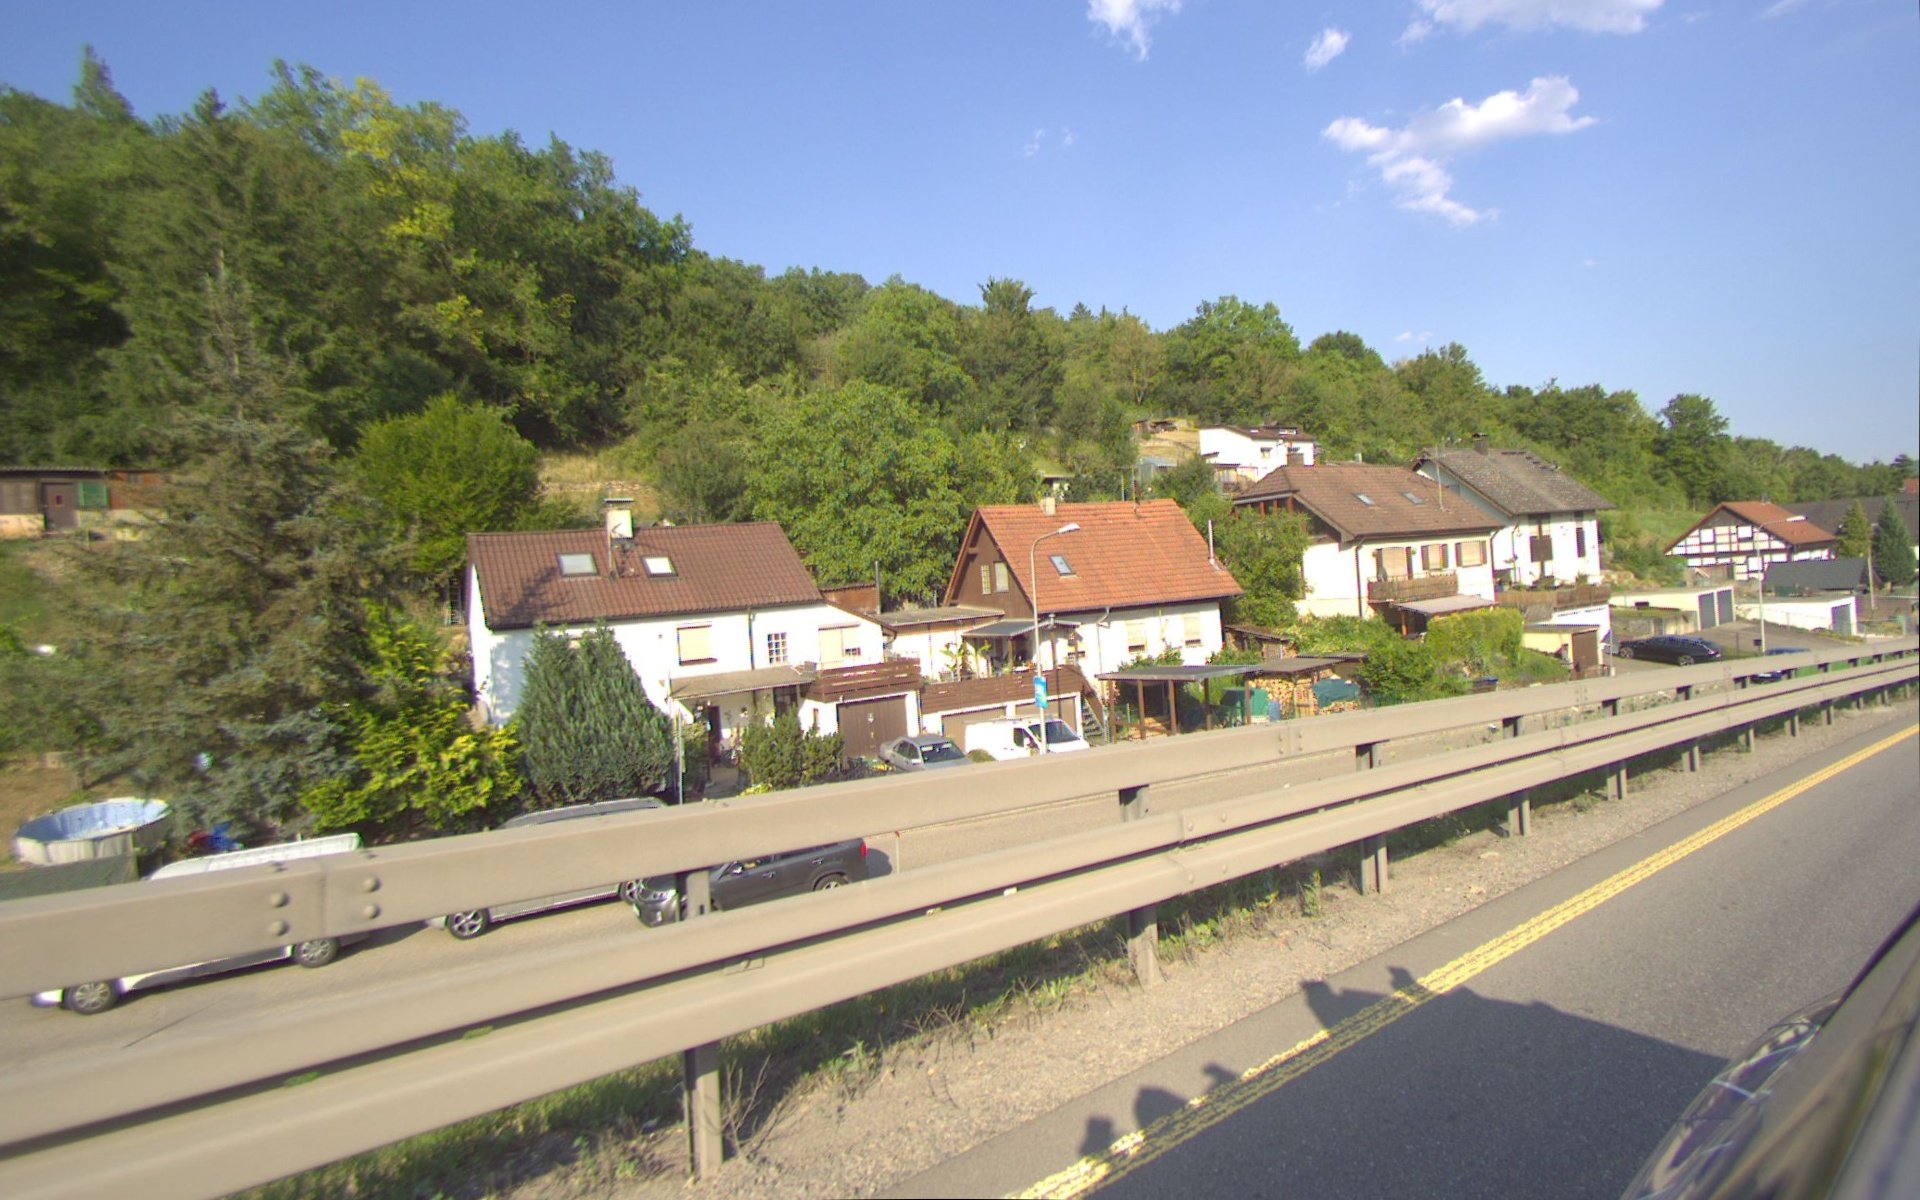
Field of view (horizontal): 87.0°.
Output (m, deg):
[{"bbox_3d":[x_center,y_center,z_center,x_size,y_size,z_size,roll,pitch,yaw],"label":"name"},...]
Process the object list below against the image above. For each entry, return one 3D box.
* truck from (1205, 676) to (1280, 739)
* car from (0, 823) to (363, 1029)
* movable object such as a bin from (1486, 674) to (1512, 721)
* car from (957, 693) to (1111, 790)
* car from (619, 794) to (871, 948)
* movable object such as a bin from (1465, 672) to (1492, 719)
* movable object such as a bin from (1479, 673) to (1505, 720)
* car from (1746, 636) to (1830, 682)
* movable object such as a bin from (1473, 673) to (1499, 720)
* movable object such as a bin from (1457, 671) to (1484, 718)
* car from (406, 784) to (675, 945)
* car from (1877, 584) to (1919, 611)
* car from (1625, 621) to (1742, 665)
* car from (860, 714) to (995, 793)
[{"bbox_3d":[10.494,3.973,37.884,1.967,1.760,3.991,-7,-2,7],"label":"truck"},{"bbox_3d":[-13.369,5.498,17.679,4.955,2.010,1.870,-3,2,-32],"label":"car"},{"bbox_3d":[21.618,3.902,40.569,0.405,1.794,0.491,-3,-8,-27],"label":"movable object such as a bin"},{"bbox_3d":[2.214,4.380,32.258,1.961,2.292,5.486,-2,1,-32],"label":"car"},{"bbox_3d":[-4.157,5.155,19.795,4.411,1.807,1.869,-2,1,-32],"label":"car"},{"bbox_3d":[20.492,3.779,39.998,0.400,1.794,0.537,-3,-8,-27],"label":"movable object such as a bin"},{"bbox_3d":[21.242,3.861,40.382,0.405,1.794,0.491,-3,-8,-27],"label":"movable object such as a bin"},{"bbox_3d":[38.267,2.704,46.743,3.548,1.619,1.773,-5,-4,-32],"label":"car"},{"bbox_3d":[20.872,3.846,40.195,0.405,1.794,0.491,-3,-8,-27],"label":"movable object such as a bin"},{"bbox_3d":[20.101,3.718,39.830,0.408,1.794,0.531,-3,-8,-27],"label":"movable object such as a bin"},{"bbox_3d":[-8.453,5.204,20.520,4.768,1.940,2.004,-3,2,-30],"label":"car"},{"bbox_3d":[71.325,-0.177,75.536,1.717,1.861,4.002,-3,4,-34],"label":"car"},{"bbox_3d":[37.914,2.200,53.148,1.961,1.542,4.517,-3,8,-31],"label":"car"},{"bbox_3d":[-1.093,4.563,30.721,1.683,1.576,5.109,-3,1,-32],"label":"car"}]
